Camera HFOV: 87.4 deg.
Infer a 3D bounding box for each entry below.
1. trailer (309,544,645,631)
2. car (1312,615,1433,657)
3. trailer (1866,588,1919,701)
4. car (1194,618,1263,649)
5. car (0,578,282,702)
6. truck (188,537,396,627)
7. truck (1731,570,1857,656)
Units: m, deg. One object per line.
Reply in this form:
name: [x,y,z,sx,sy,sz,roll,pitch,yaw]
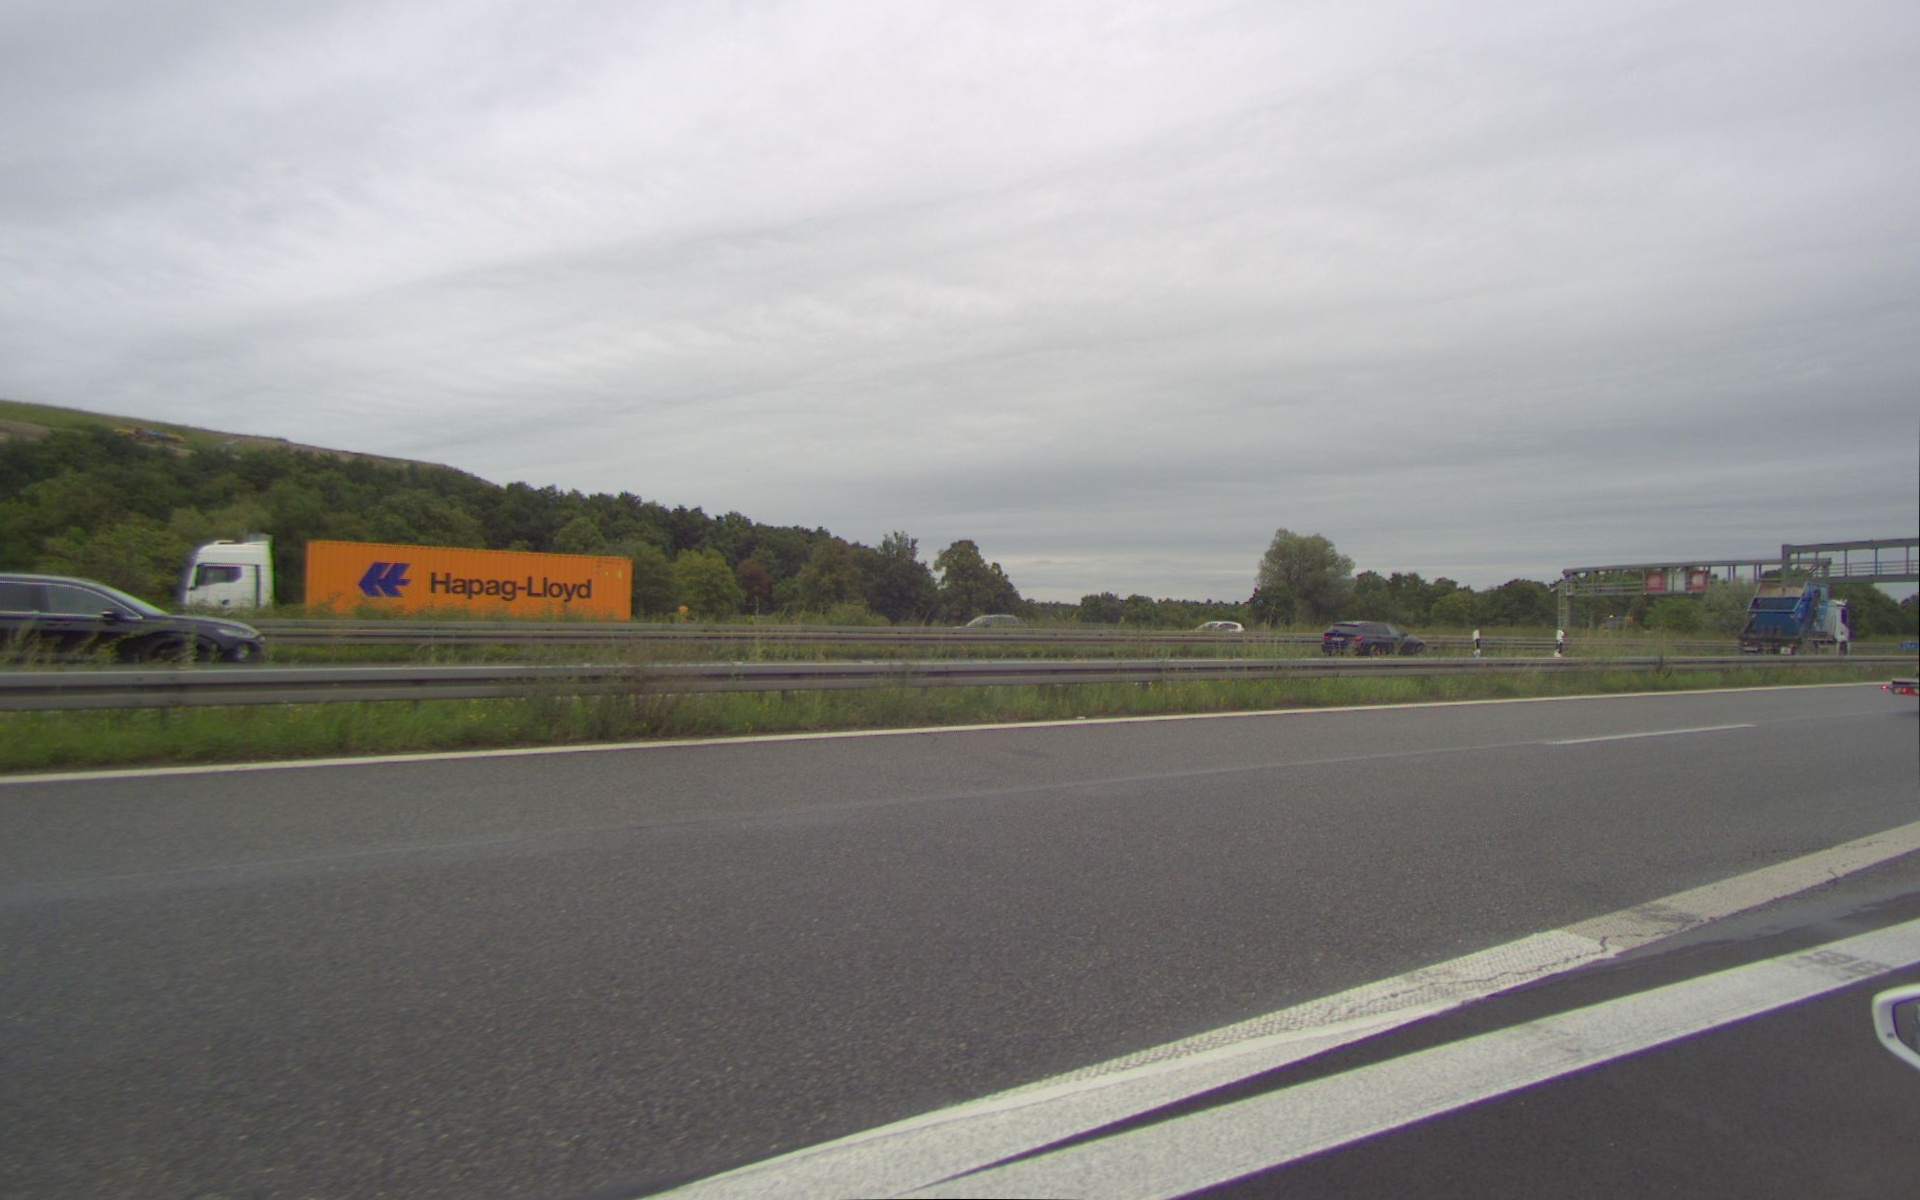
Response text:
trailer: [-19.940,-0.392,42.324,12.431,3.114,2.669,2,0,-33]
car: [15.335,1.351,37.251,4.725,1.410,1.793,2,0,-34]
trailer: [20.495,0.893,19.541,6.985,2.021,2.471,2,0,-32]
car: [16.580,2.077,62.081,3.952,1.751,1.843,2,0,-30]
car: [-12.763,0.549,14.551,4.755,1.648,1.871,2,0,-33]
truck: [-25.507,-0.602,38.699,6.385,3.114,2.670,2,0,-33]
truck: [39.900,0.668,47.965,7.267,3.863,2.622,2,0,-34]
